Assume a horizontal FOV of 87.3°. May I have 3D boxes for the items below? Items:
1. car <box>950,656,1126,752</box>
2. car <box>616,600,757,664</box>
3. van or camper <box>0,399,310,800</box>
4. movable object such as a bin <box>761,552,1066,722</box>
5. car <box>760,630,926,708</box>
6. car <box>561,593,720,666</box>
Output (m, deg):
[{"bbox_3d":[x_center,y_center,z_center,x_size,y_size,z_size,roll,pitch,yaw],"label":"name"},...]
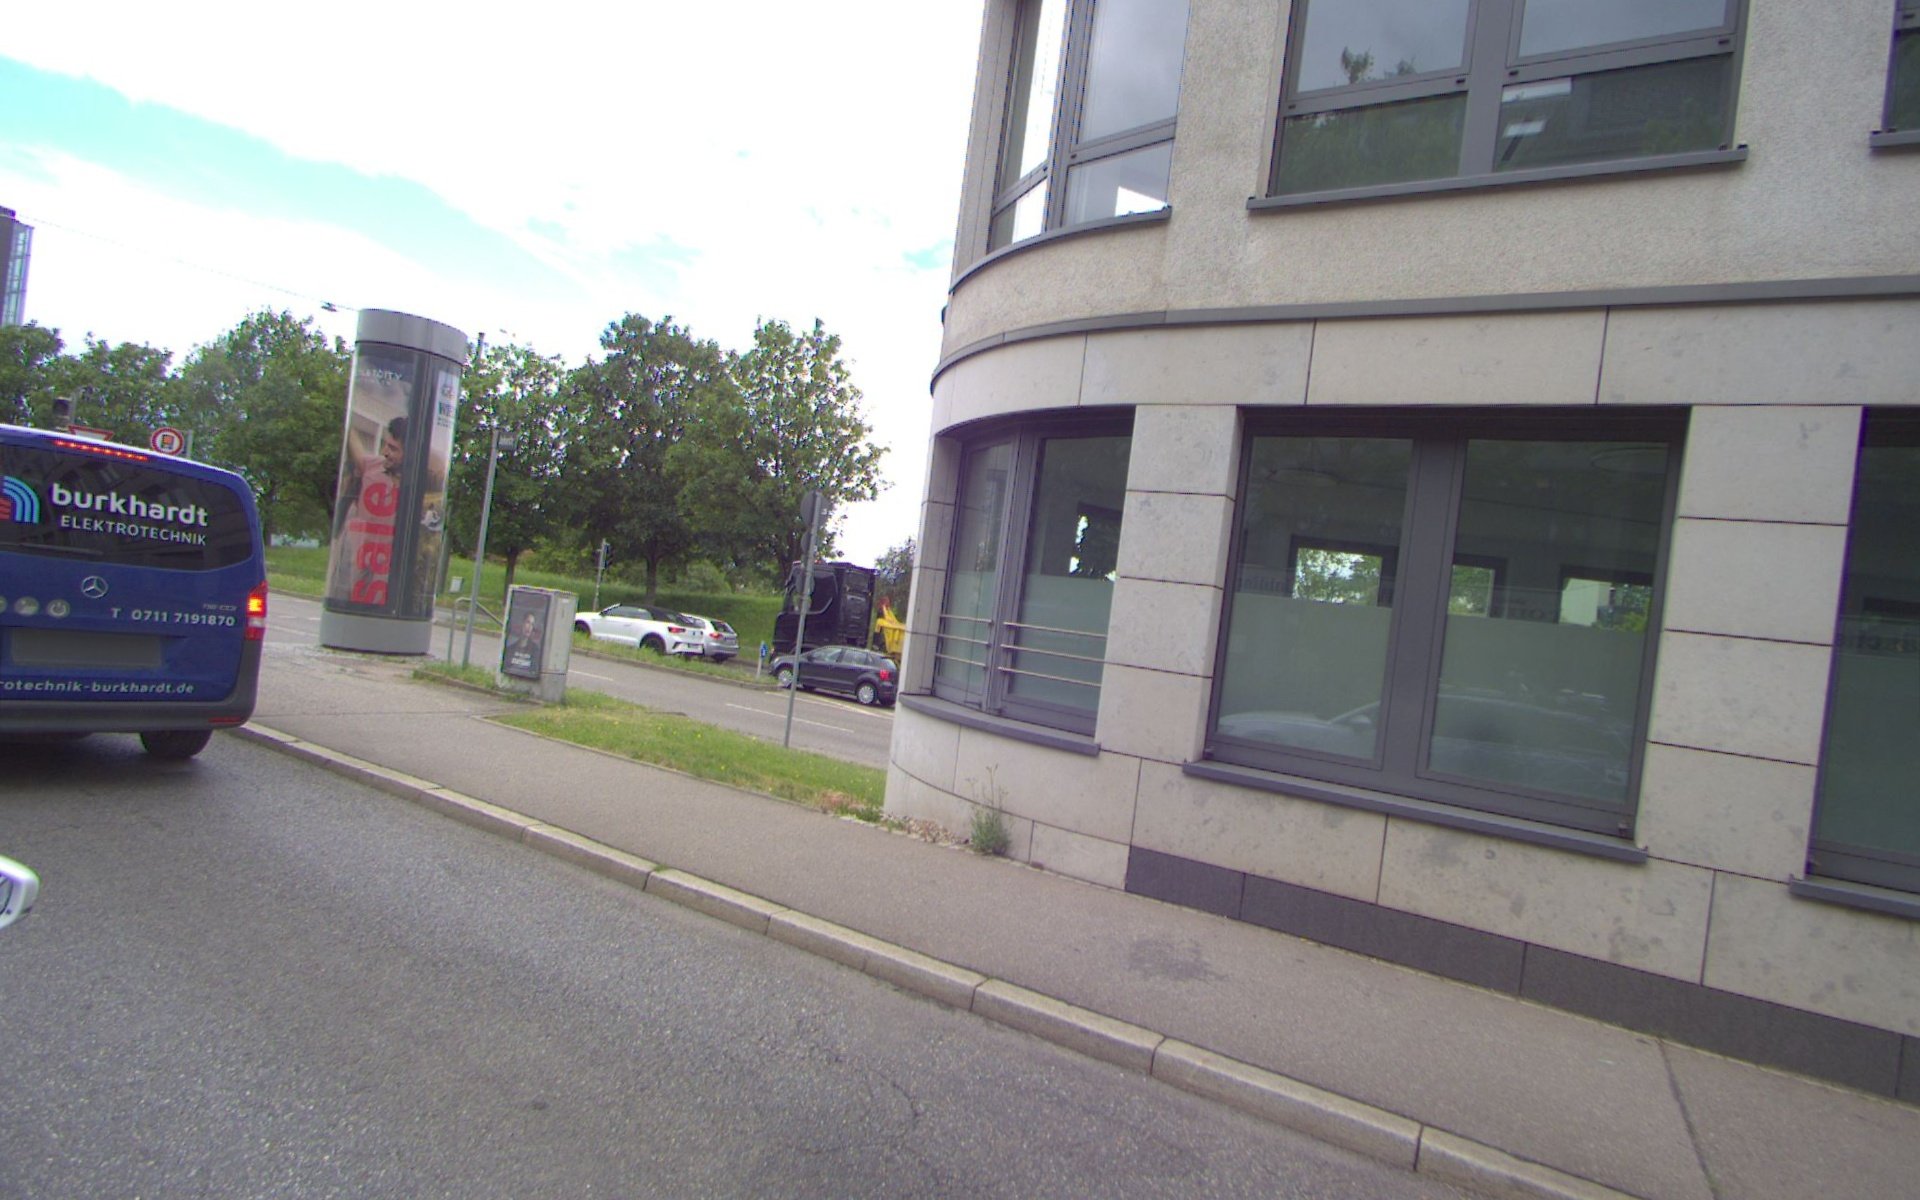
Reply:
[{"bbox_3d":[2.016,2.631,25.707,3.925,1.723,2.003,8,-3,19],"label":"car"},{"bbox_3d":[-9.105,1.080,33.598,3.925,1.469,2.003,8,-3,19],"label":"car"},{"bbox_3d":[-6.532,-0.200,6.479,4.949,1.934,1.862,7,-1,32],"label":"van or camper"},{"bbox_3d":[-1.398,1.052,30.559,8.410,3.949,2.870,7,-1,18],"label":"movable object such as a bin"},{"bbox_3d":[-3.199,1.911,27.729,3.925,1.469,2.003,8,-3,19],"label":"car"},{"bbox_3d":[-9.498,0.892,29.970,3.925,1.469,2.003,8,-3,19],"label":"car"}]
